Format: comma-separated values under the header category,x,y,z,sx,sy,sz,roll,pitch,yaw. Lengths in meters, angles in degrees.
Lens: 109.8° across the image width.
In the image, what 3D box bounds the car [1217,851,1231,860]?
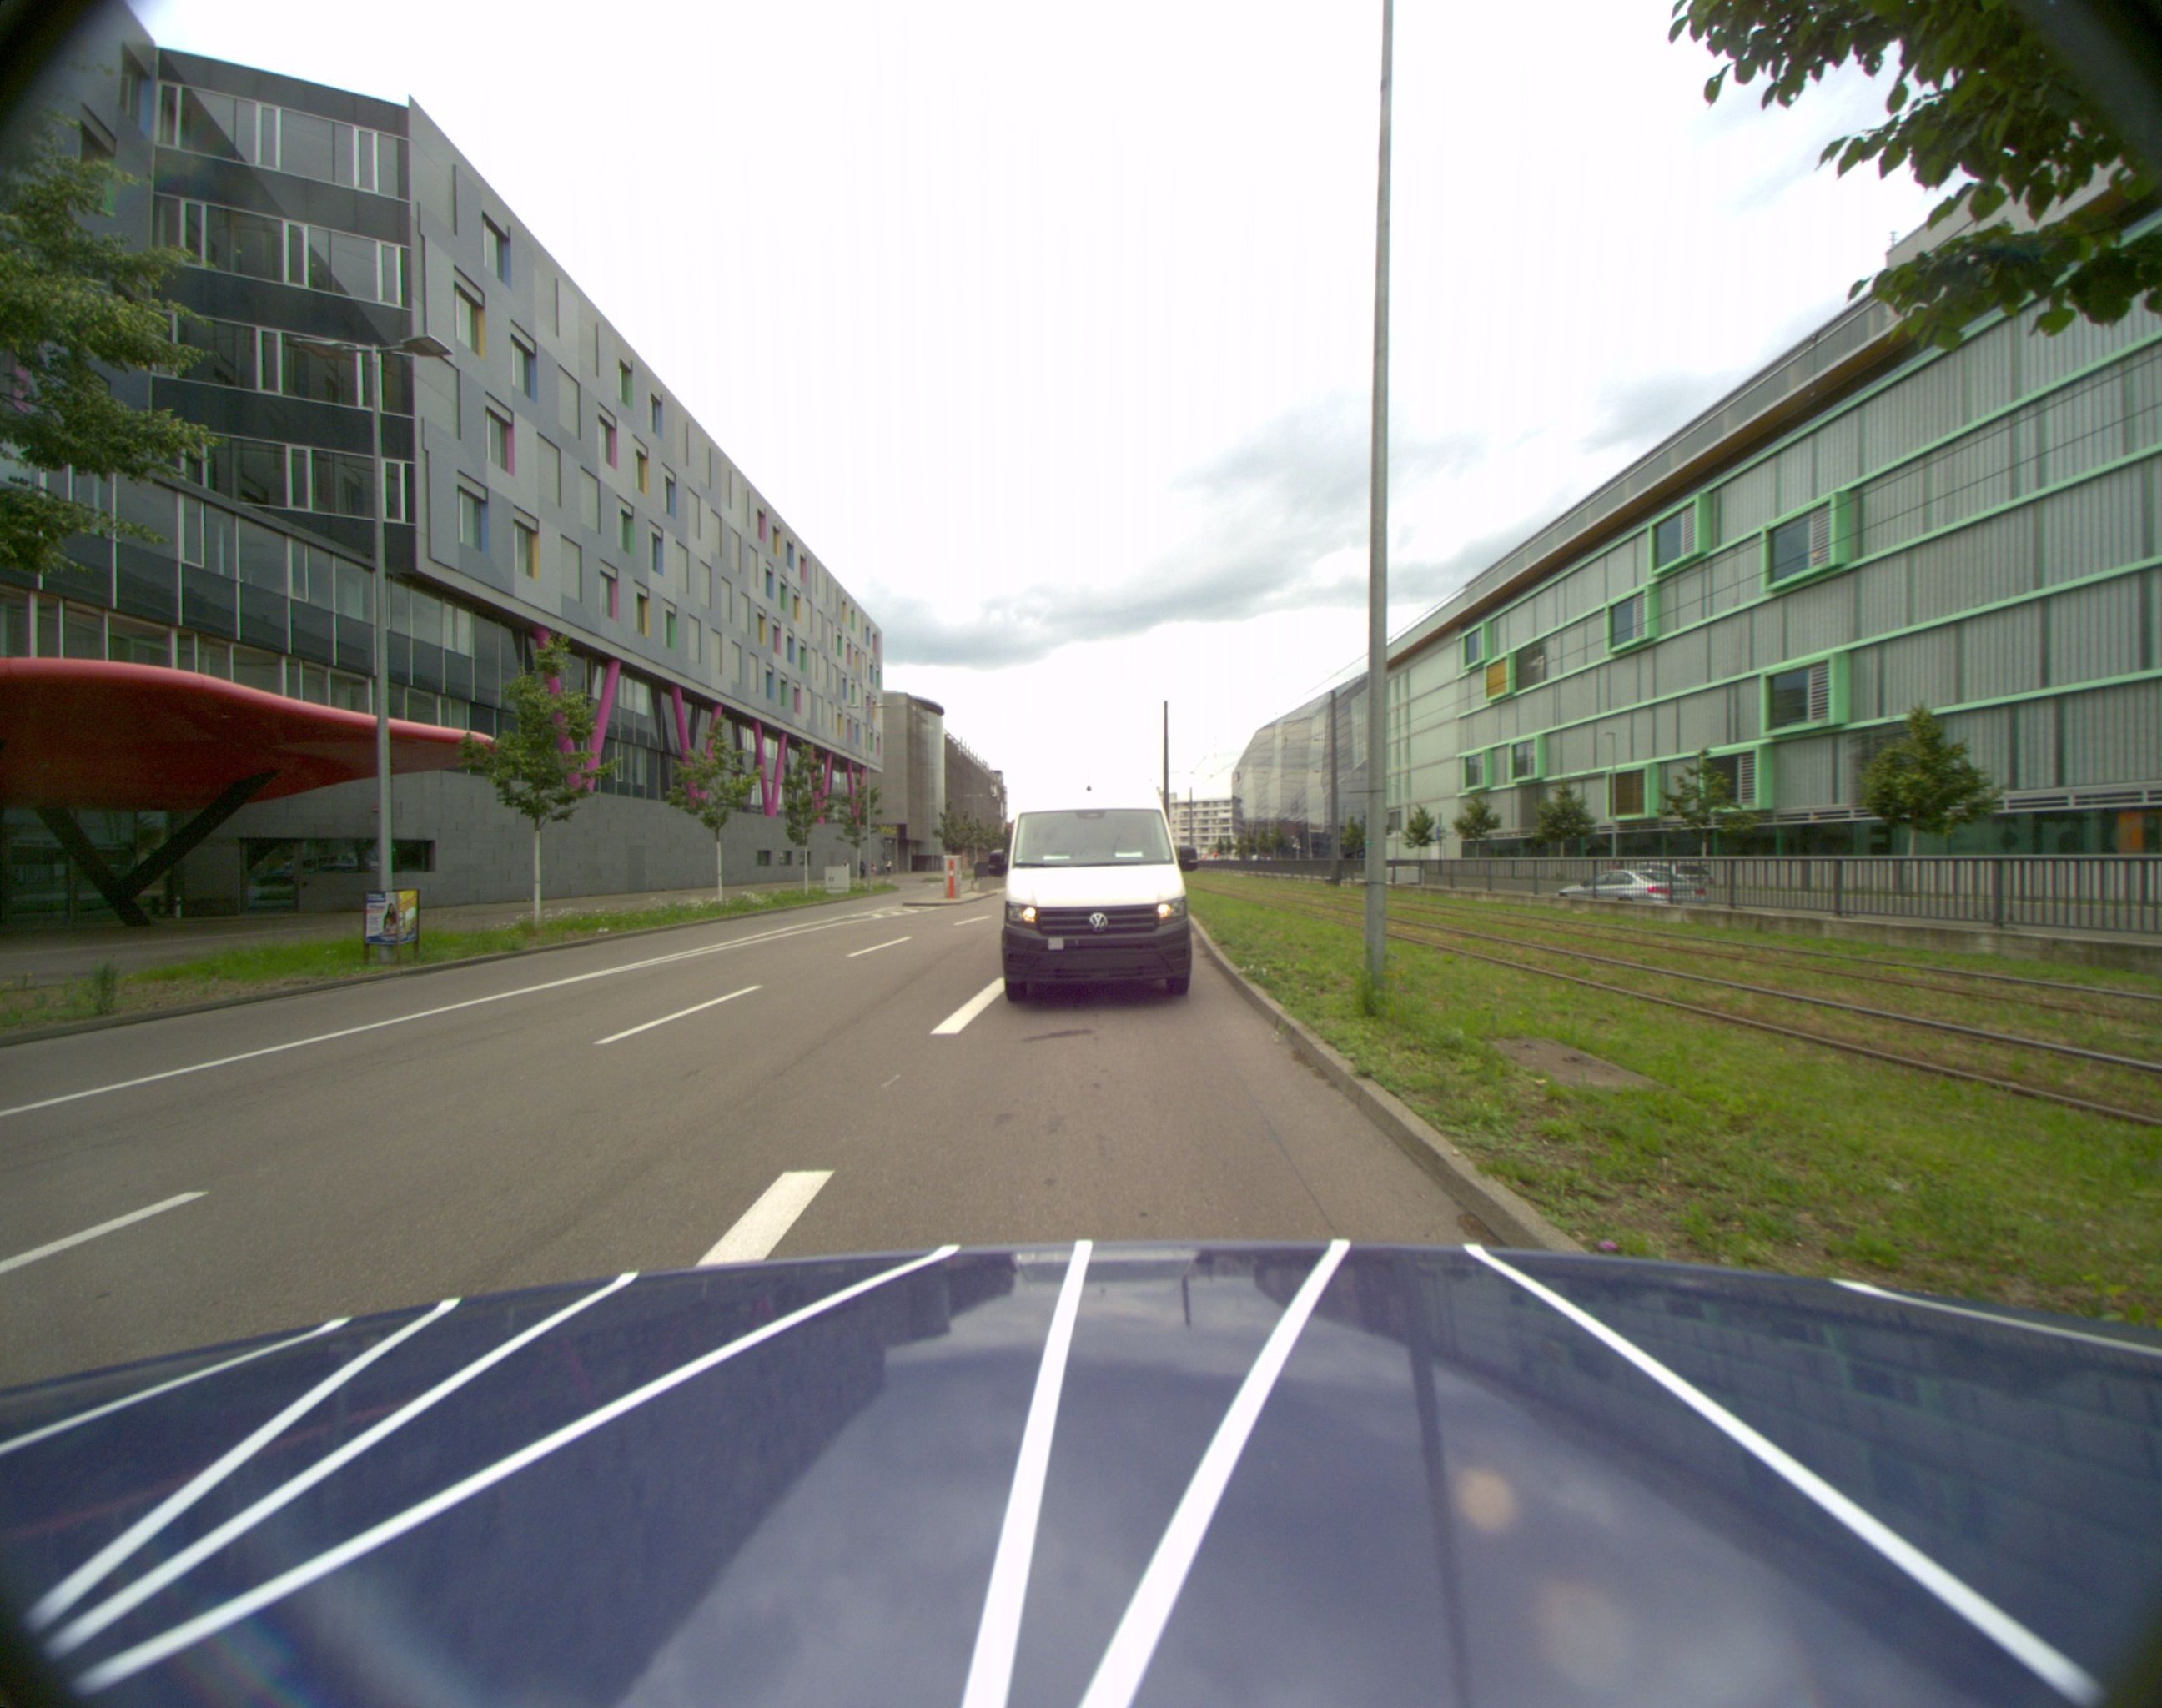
category,x,y,z,sx,sy,sz,roll,pitch,yaw
car,26.850,0.333,142.664,1.998,1.583,4.769,-1,-2,3

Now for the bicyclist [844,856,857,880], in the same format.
category,x,y,z,sx,sy,sz,roll,pitch,yaw
bicyclist,-17.317,1.024,57.094,0.784,1.792,0.705,-1,0,0

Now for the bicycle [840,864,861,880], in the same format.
category,x,y,z,sx,sy,sz,roll,pitch,yaw
bicycle,-17.314,1.372,57.159,0.801,1.151,2.345,-1,-1,0

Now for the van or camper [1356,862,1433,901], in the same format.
category,x,y,z,sx,sy,sz,roll,pitch,yaw
van or camper,16.458,1.387,40.172,1.894,1.889,5.124,0,0,-1

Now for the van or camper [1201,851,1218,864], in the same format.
category,x,y,z,sx,sy,sz,roll,pitch,yaw
van or camper,23.987,0.644,142.523,2.178,2.273,6.507,-2,0,1

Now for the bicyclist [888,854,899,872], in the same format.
category,x,y,z,sx,sy,sz,roll,pitch,yaw
bicyclist,-18.752,0.879,76.055,0.772,1.776,0.974,0,0,1

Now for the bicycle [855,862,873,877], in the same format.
category,x,y,z,sx,sy,sz,roll,pitch,yaw
bicycle,-18.103,1.290,63.483,0.801,1.150,2.346,-1,-4,0

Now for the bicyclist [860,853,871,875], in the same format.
category,x,y,z,sx,sy,sz,roll,pitch,yaw
bicyclist,-18.108,0.881,63.843,0.784,1.790,0.705,-1,-4,0

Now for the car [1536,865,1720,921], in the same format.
category,x,y,z,sx,sy,sz,roll,pitch,yaw
car,16.107,1.092,22.767,1.733,1.437,4.921,1,-1,-4

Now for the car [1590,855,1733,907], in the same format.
category,x,y,z,sx,sy,sz,roll,pitch,yaw
car,24.088,1.046,31.856,1.998,2.002,5.295,-1,0,1

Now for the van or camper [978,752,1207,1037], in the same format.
category,x,y,z,sx,sy,sz,roll,pitch,yaw
van or camper,0.110,0.375,9.453,2.043,2.572,5.041,-1,0,0

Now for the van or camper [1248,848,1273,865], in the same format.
category,x,y,z,sx,sy,sz,roll,pitch,yaw
van or camper,23.917,0.335,101.457,2.178,2.273,5.358,0,0,1

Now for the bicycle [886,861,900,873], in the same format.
category,x,y,z,sx,sy,sz,roll,pitch,yaw
bicycle,-18.760,1.305,75.849,0.785,1.187,2.221,0,0,1
